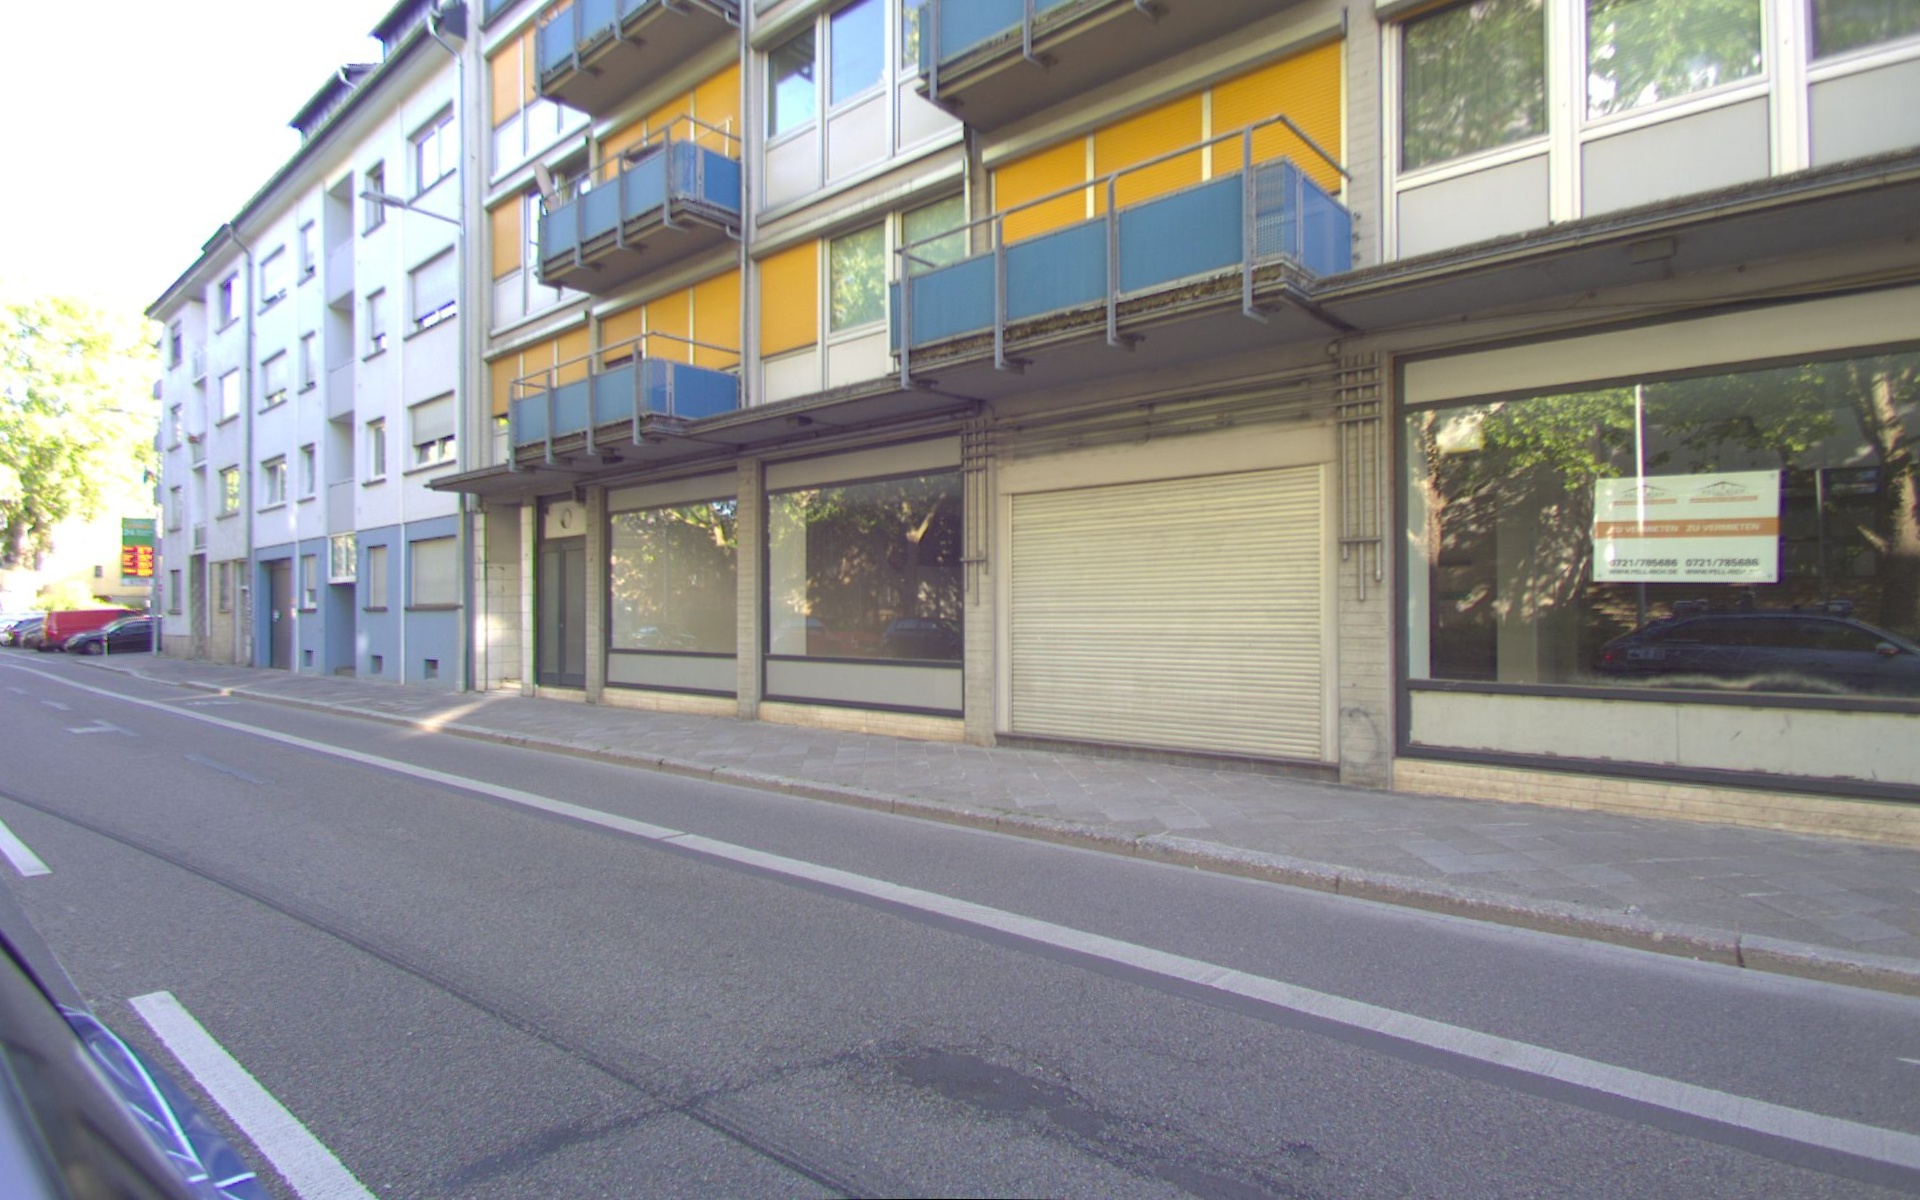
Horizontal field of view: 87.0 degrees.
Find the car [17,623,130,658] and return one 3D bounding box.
[{"bbox_3d":[-42.907,1.911,49.041,1.761,1.514,3.944,-1,0,42],"label":"car"}]

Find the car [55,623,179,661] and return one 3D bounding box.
[{"bbox_3d":[-36.625,1.770,44.014,1.761,1.468,3.944,-1,0,42],"label":"car"}]

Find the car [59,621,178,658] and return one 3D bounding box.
[{"bbox_3d":[-38.106,1.766,45.902,1.761,1.514,3.944,-1,0,42],"label":"car"}]

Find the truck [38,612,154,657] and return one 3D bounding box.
[{"bbox_3d":[-40.496,1.579,47.494,1.761,1.951,3.944,-1,0,42],"label":"truck"}]
